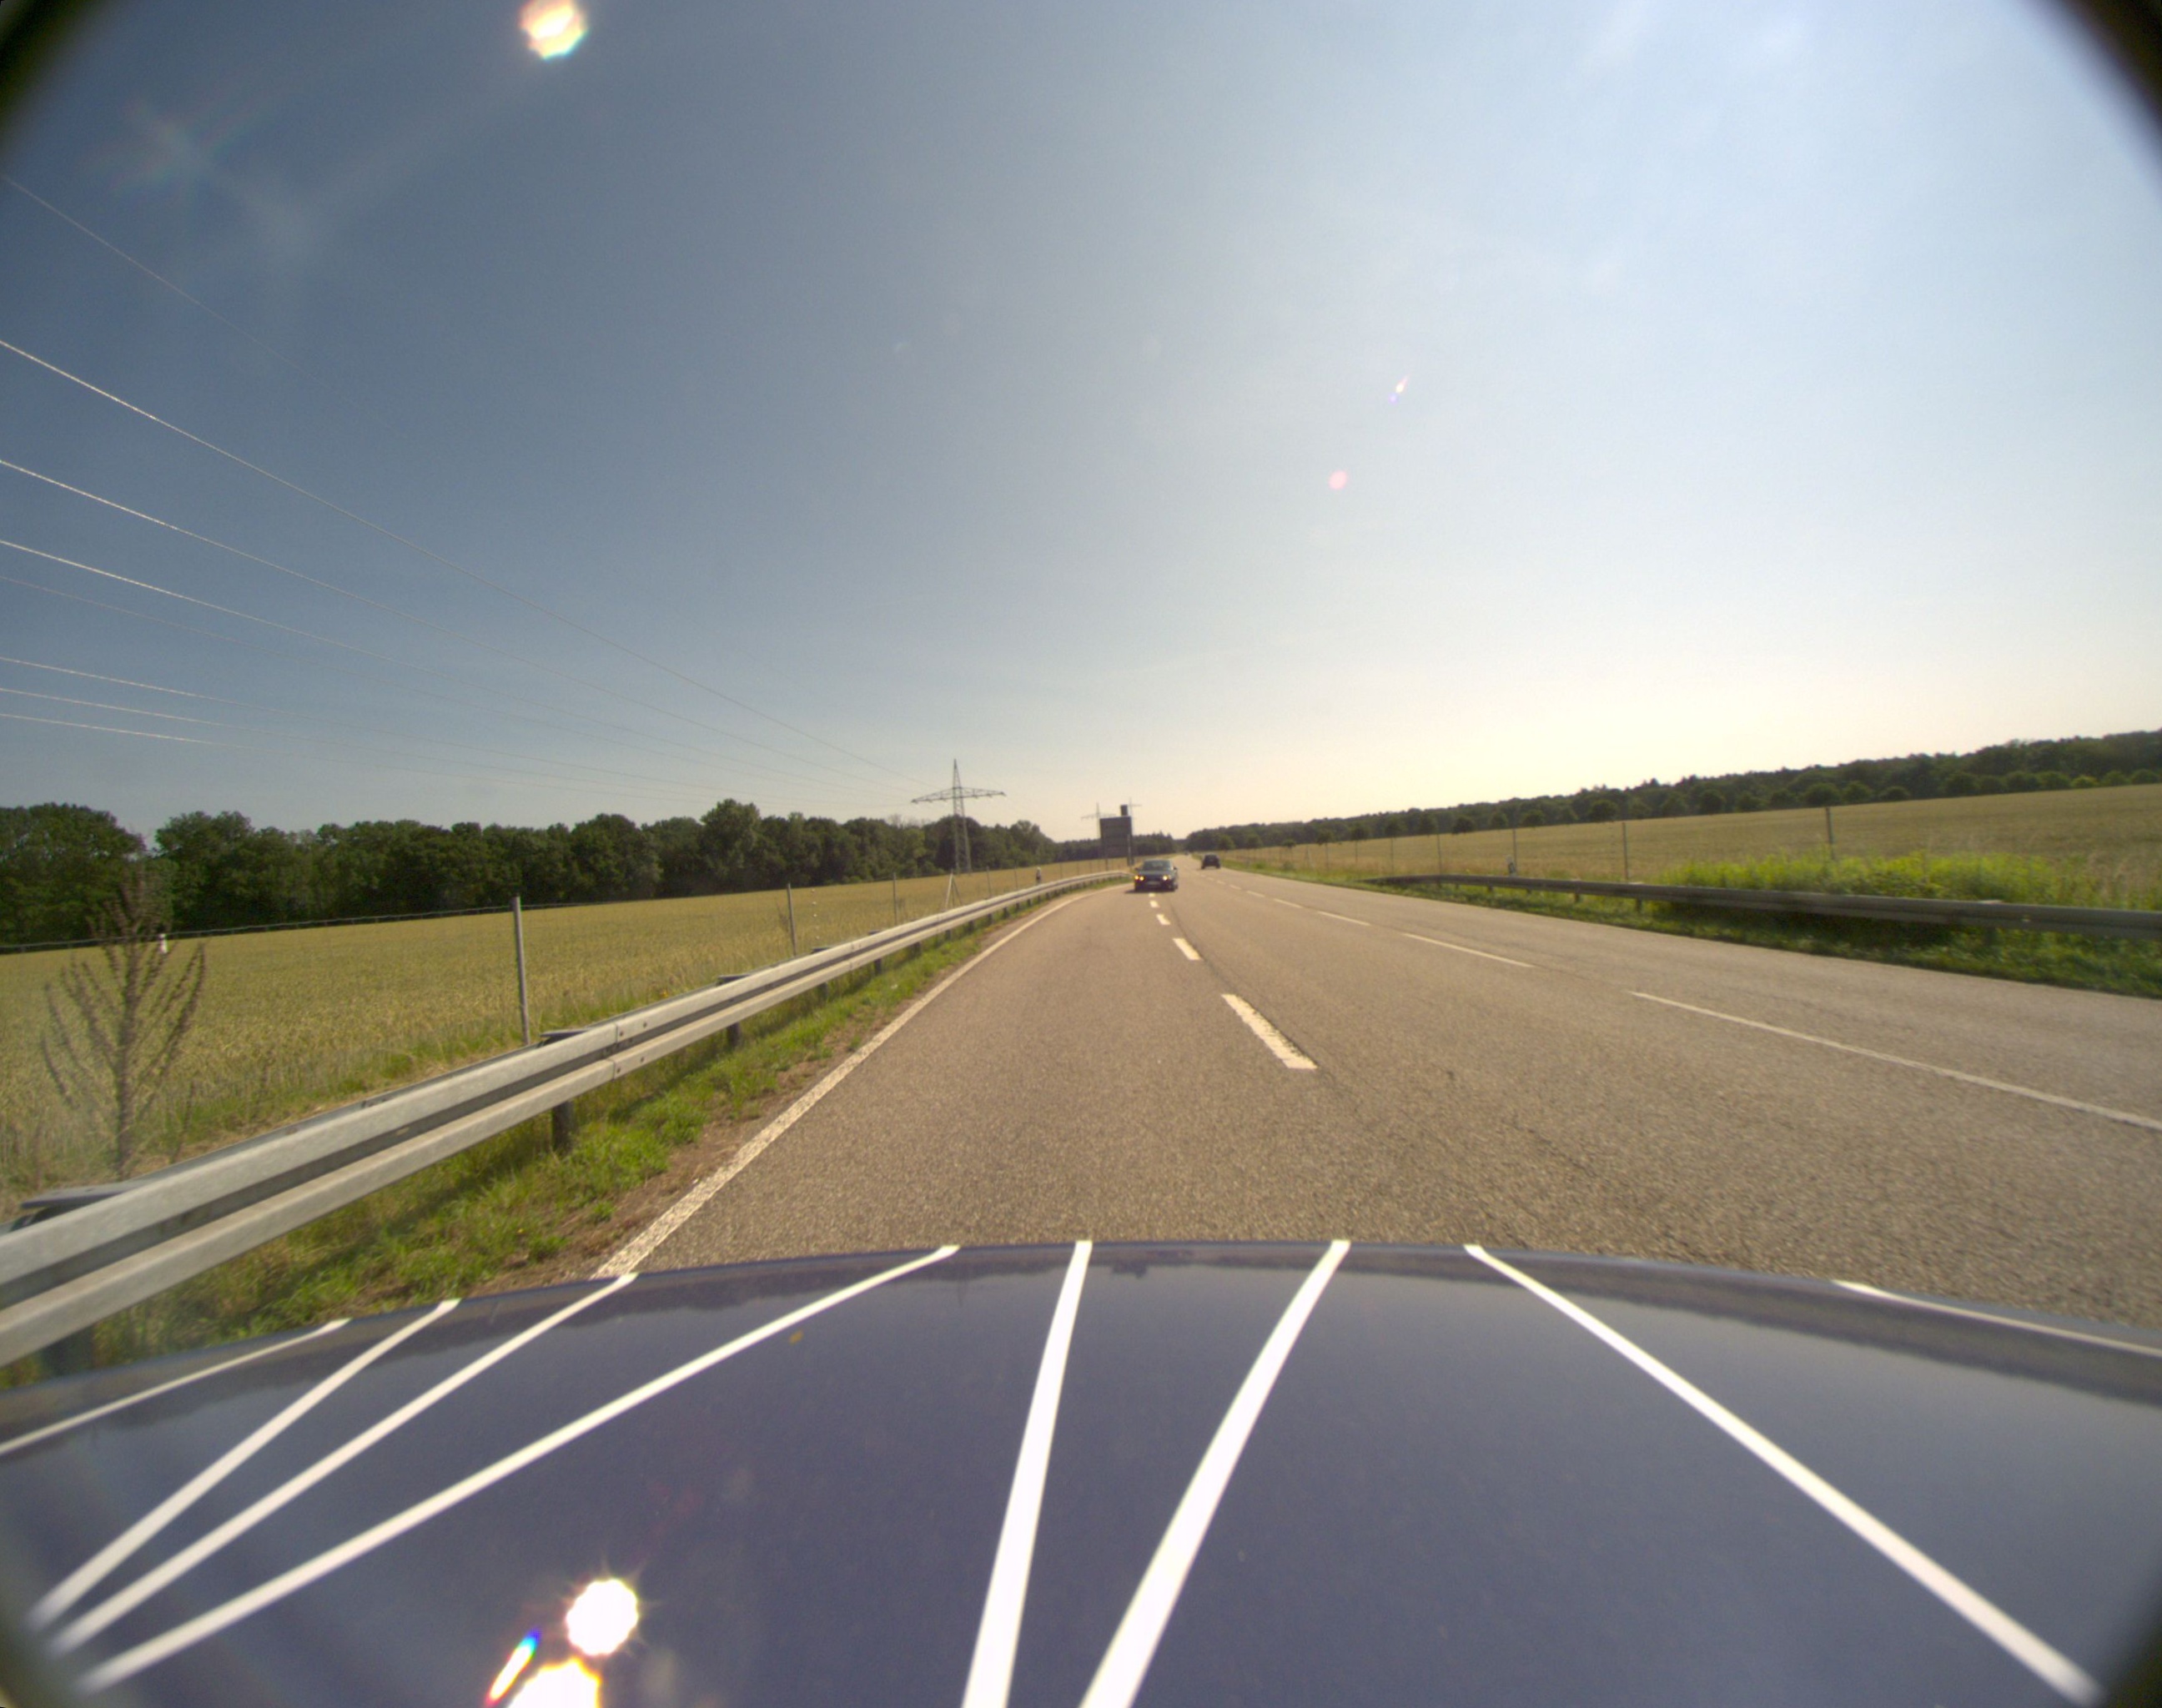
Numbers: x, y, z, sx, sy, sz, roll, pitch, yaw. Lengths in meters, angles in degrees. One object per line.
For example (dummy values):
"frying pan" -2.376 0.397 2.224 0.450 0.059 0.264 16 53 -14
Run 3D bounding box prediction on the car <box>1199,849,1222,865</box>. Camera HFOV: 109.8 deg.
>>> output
"car" 13.022 0.307 76.540 1.832 1.499 4.163 -2 0 4

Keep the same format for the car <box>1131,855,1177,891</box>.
"car" 3.306 0.810 34.172 1.885 1.448 4.077 -1 0 6
